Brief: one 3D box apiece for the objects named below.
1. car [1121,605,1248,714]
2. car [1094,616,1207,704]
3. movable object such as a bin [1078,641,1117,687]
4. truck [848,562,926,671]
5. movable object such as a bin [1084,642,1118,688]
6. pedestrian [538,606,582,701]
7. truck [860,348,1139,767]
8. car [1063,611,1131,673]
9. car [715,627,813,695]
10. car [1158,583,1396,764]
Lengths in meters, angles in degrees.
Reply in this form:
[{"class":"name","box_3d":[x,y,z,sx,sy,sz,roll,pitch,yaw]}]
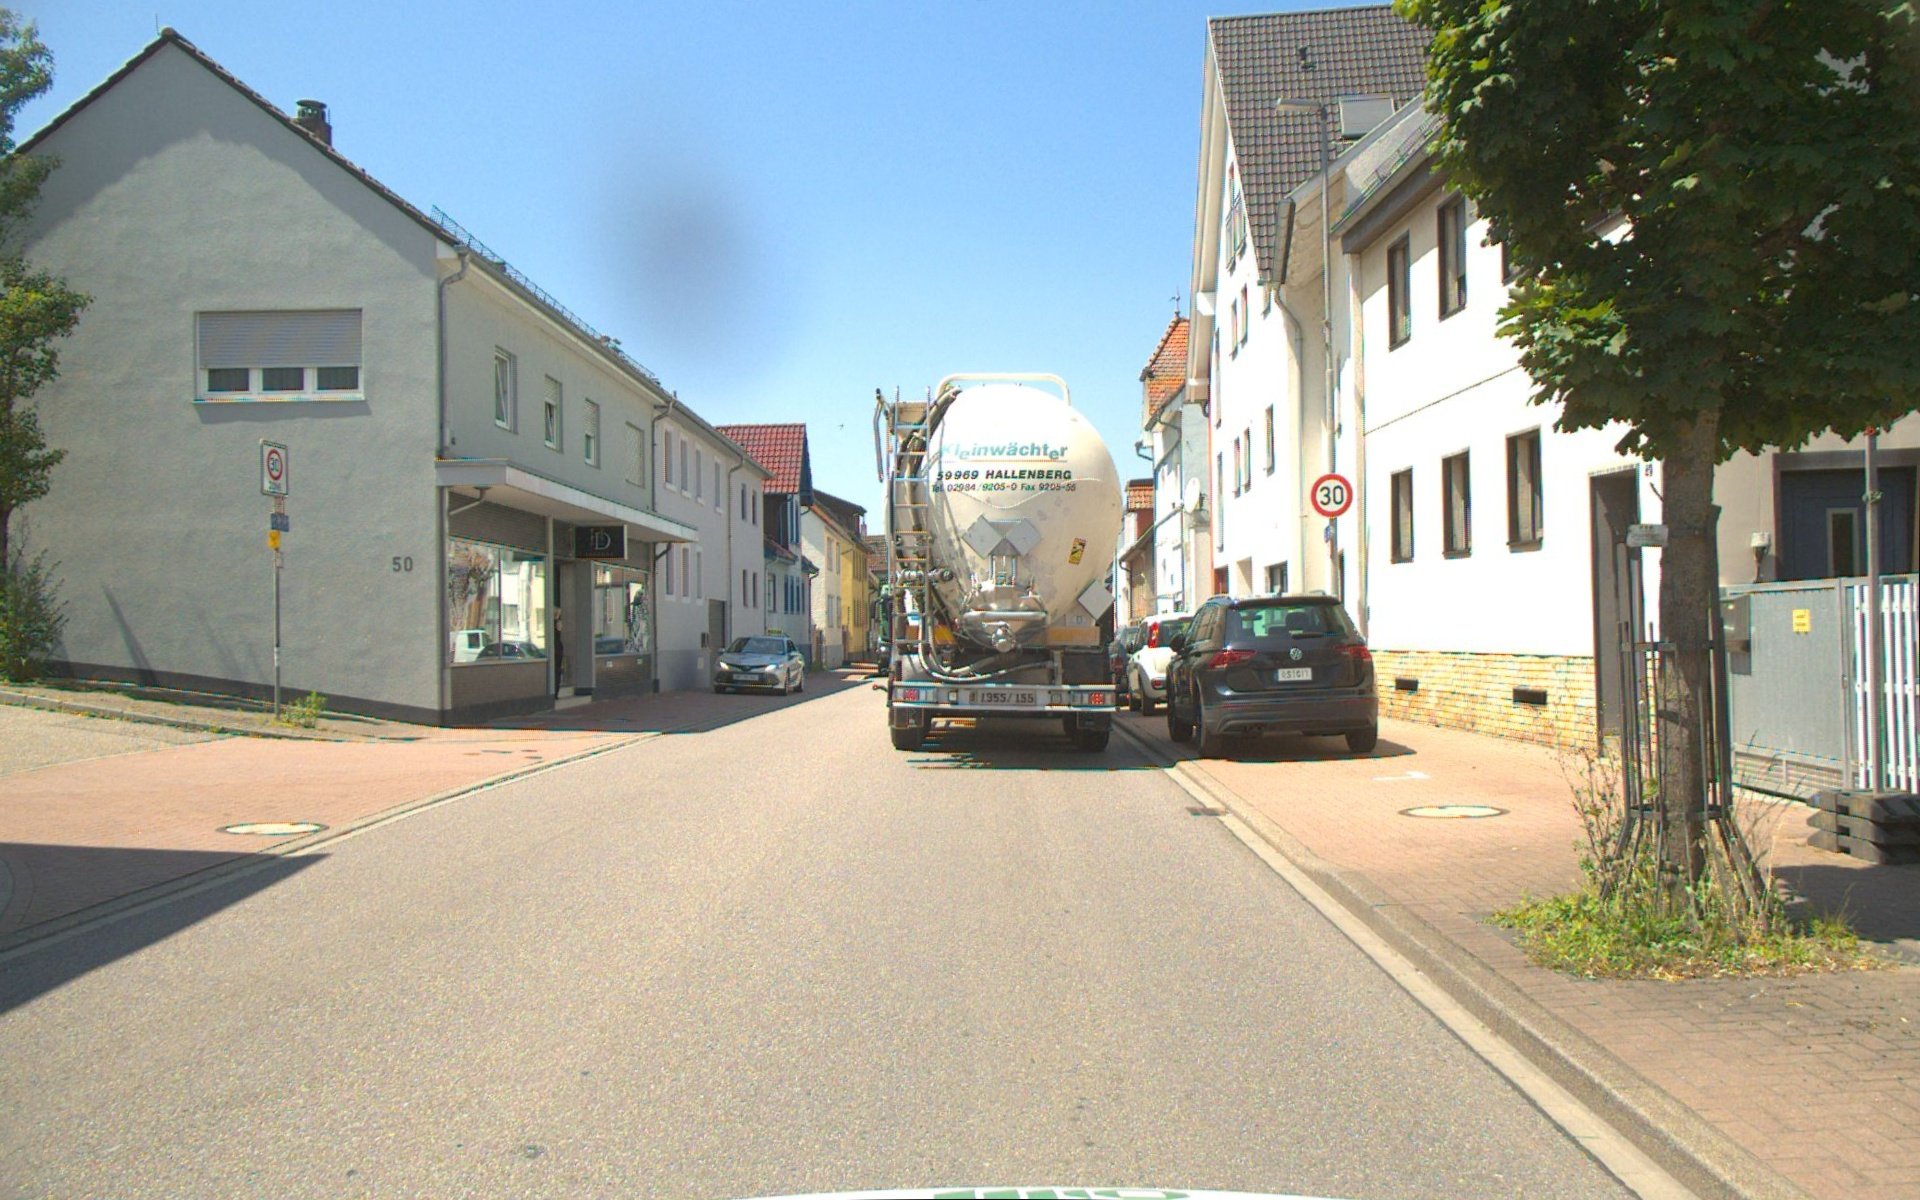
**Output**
[{"class":"car","box_3d":[3.572,0.936,26.807,1.574,1.549,3.545,-4,-2,1]},{"class":"car","box_3d":[3.610,1.130,32.100,1.665,1.472,4.836,-4,-1,1]},{"class":"movable object such as a bin","box_3d":[3.383,1.568,40.728,0.707,1.092,0.972,-3,-2,17]},{"class":"truck","box_3d":[-2.871,0.718,66.799,2.564,4.055,6.852,-3,-2,1]},{"class":"movable object such as a bin","box_3d":[3.406,1.563,40.020,0.642,1.053,0.684,-3,-2,17]},{"class":"pedestrian","box_3d":[-7.373,0.985,30.538,0.611,1.714,0.771,0,-2,0]},{"class":"truck","box_3d":[0.479,-0.323,20.010,2.676,4.030,8.142,0,-1,1]},{"class":"car","box_3d":[4.768,1.466,58.095,1.906,2.005,4.784,-2,-1,0]},{"class":"car","box_3d":[-4.910,1.525,42.005,1.771,1.584,4.565,1,-1,2]},{"class":"car","box_3d":[3.311,0.729,18.142,1.765,1.642,4.549,-3,-1,1]}]
